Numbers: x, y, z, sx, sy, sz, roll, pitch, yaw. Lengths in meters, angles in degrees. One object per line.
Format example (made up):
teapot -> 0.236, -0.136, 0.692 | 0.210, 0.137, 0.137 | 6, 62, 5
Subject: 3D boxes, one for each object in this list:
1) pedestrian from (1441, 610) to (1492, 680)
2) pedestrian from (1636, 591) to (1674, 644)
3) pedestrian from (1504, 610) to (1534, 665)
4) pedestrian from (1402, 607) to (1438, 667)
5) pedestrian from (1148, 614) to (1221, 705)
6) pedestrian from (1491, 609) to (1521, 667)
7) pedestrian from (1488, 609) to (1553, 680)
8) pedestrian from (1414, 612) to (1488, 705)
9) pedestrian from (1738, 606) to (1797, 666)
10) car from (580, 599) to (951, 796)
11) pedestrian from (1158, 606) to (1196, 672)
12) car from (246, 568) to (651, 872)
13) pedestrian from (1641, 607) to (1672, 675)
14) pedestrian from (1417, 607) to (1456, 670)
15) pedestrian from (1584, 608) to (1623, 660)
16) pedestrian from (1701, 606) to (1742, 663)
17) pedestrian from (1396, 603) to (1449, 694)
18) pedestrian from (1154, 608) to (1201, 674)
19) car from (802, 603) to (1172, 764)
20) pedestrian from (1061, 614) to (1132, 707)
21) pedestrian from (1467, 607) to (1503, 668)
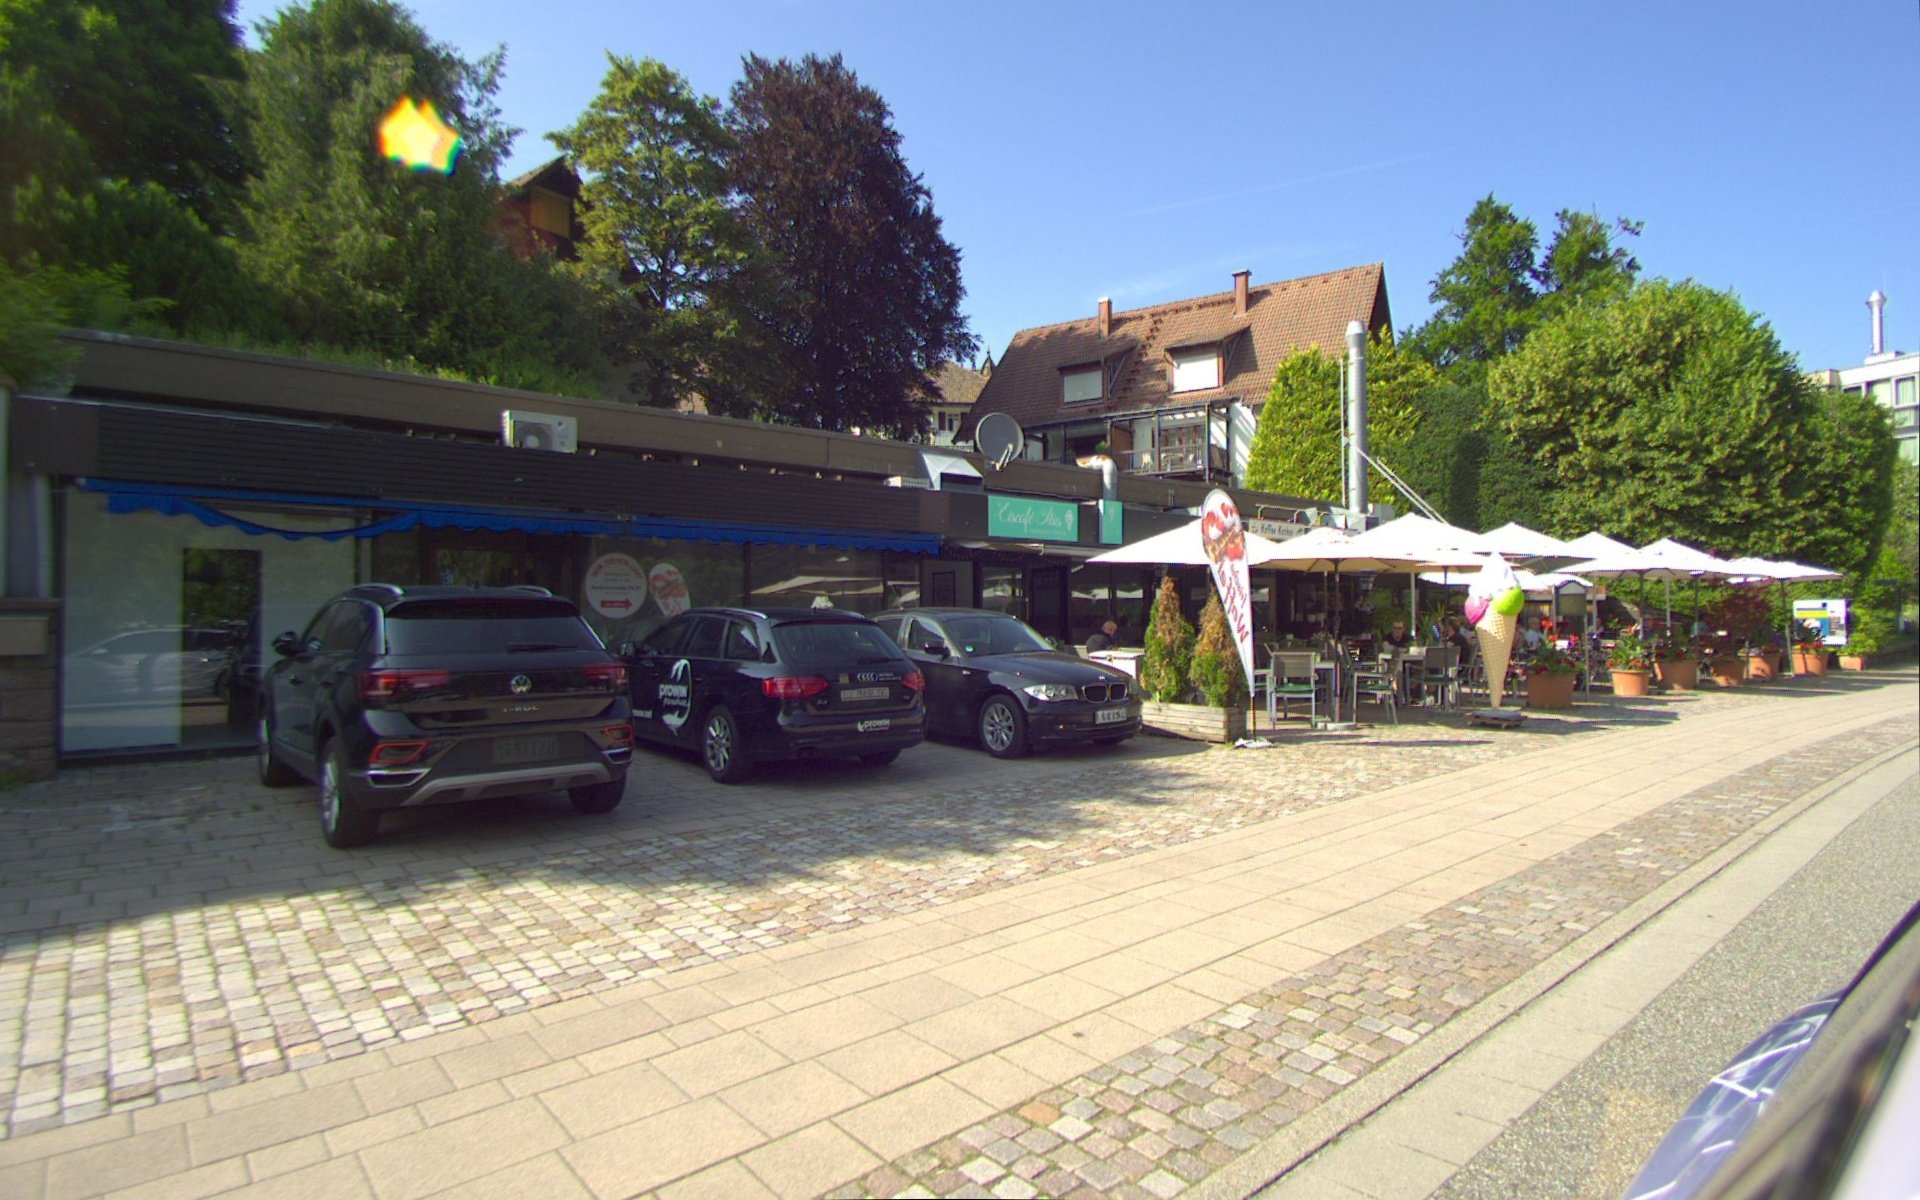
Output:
pedestrian -> 9.526, 0.826, 19.060 | 0.690, 1.277, 0.809 | 0, 0, 14
pedestrian -> 16.946, 0.423, 24.692 | 0.585, 1.253, 0.507 | 1, 0, 9
pedestrian -> 13.292, 0.877, 24.067 | 0.498, 1.284, 0.410 | 1, 0, -30
pedestrian -> 10.324, 0.822, 22.720 | 0.629, 1.298, 0.578 | 1, 0, 14
pedestrian -> 3.249, 0.844, 14.685 | 0.795, 1.277, 0.702 | 0, 0, -14
pedestrian -> 12.328, 0.840, 22.843 | 0.433, 1.281, 0.469 | 1, 0, -44
pedestrian -> 10.428, 0.815, 18.854 | 0.686, 1.277, 0.814 | 0, 0, -21
pedestrian -> 7.072, 0.814, 14.582 | 0.809, 1.277, 0.690 | 0, -1, 41
pedestrian -> 18.269, 0.806, 22.899 | 0.634, 1.300, 0.949 | 1, 0, -42
car -> -2.030, 0.720, 9.550 | 1.717, 1.433, 4.118 | 0, 0, -39
pedestrian -> 4.442, 0.786, 20.770 | 0.625, 1.316, 0.688 | 0, 0, -1
car -> -3.905, 0.640, 7.378 | 1.718, 1.600, 3.881 | 0, -1, -41
pedestrian -> 13.354, 0.767, 19.416 | 0.470, 1.261, 0.586 | 1, 1, 34
pedestrian -> 10.296, 0.814, 21.875 | 0.629, 1.321, 0.578 | 1, 0, 14
pedestrian -> 15.911, 0.831, 25.029 | 0.685, 1.247, 0.509 | 1, 0, -21
pedestrian -> 17.814, 0.792, 23.666 | 0.634, 1.300, 0.648 | 1, 0, -42
pedestrian -> 7.380, 0.748, 16.174 | 0.691, 1.399, 0.807 | 0, 0, 19
pedestrian -> 4.166, 0.774, 19.414 | 0.686, 1.224, 0.689 | 0, 0, -9
car -> 0.089, 0.744, 11.080 | 1.678, 1.396, 4.271 | 0, 0, -39
pedestrian -> 1.934, 0.847, 14.428 | 0.795, 1.277, 0.702 | 0, 0, -14
pedestrian -> 11.677, 0.825, 22.495 | 0.599, 1.321, 0.530 | 1, 0, -43
